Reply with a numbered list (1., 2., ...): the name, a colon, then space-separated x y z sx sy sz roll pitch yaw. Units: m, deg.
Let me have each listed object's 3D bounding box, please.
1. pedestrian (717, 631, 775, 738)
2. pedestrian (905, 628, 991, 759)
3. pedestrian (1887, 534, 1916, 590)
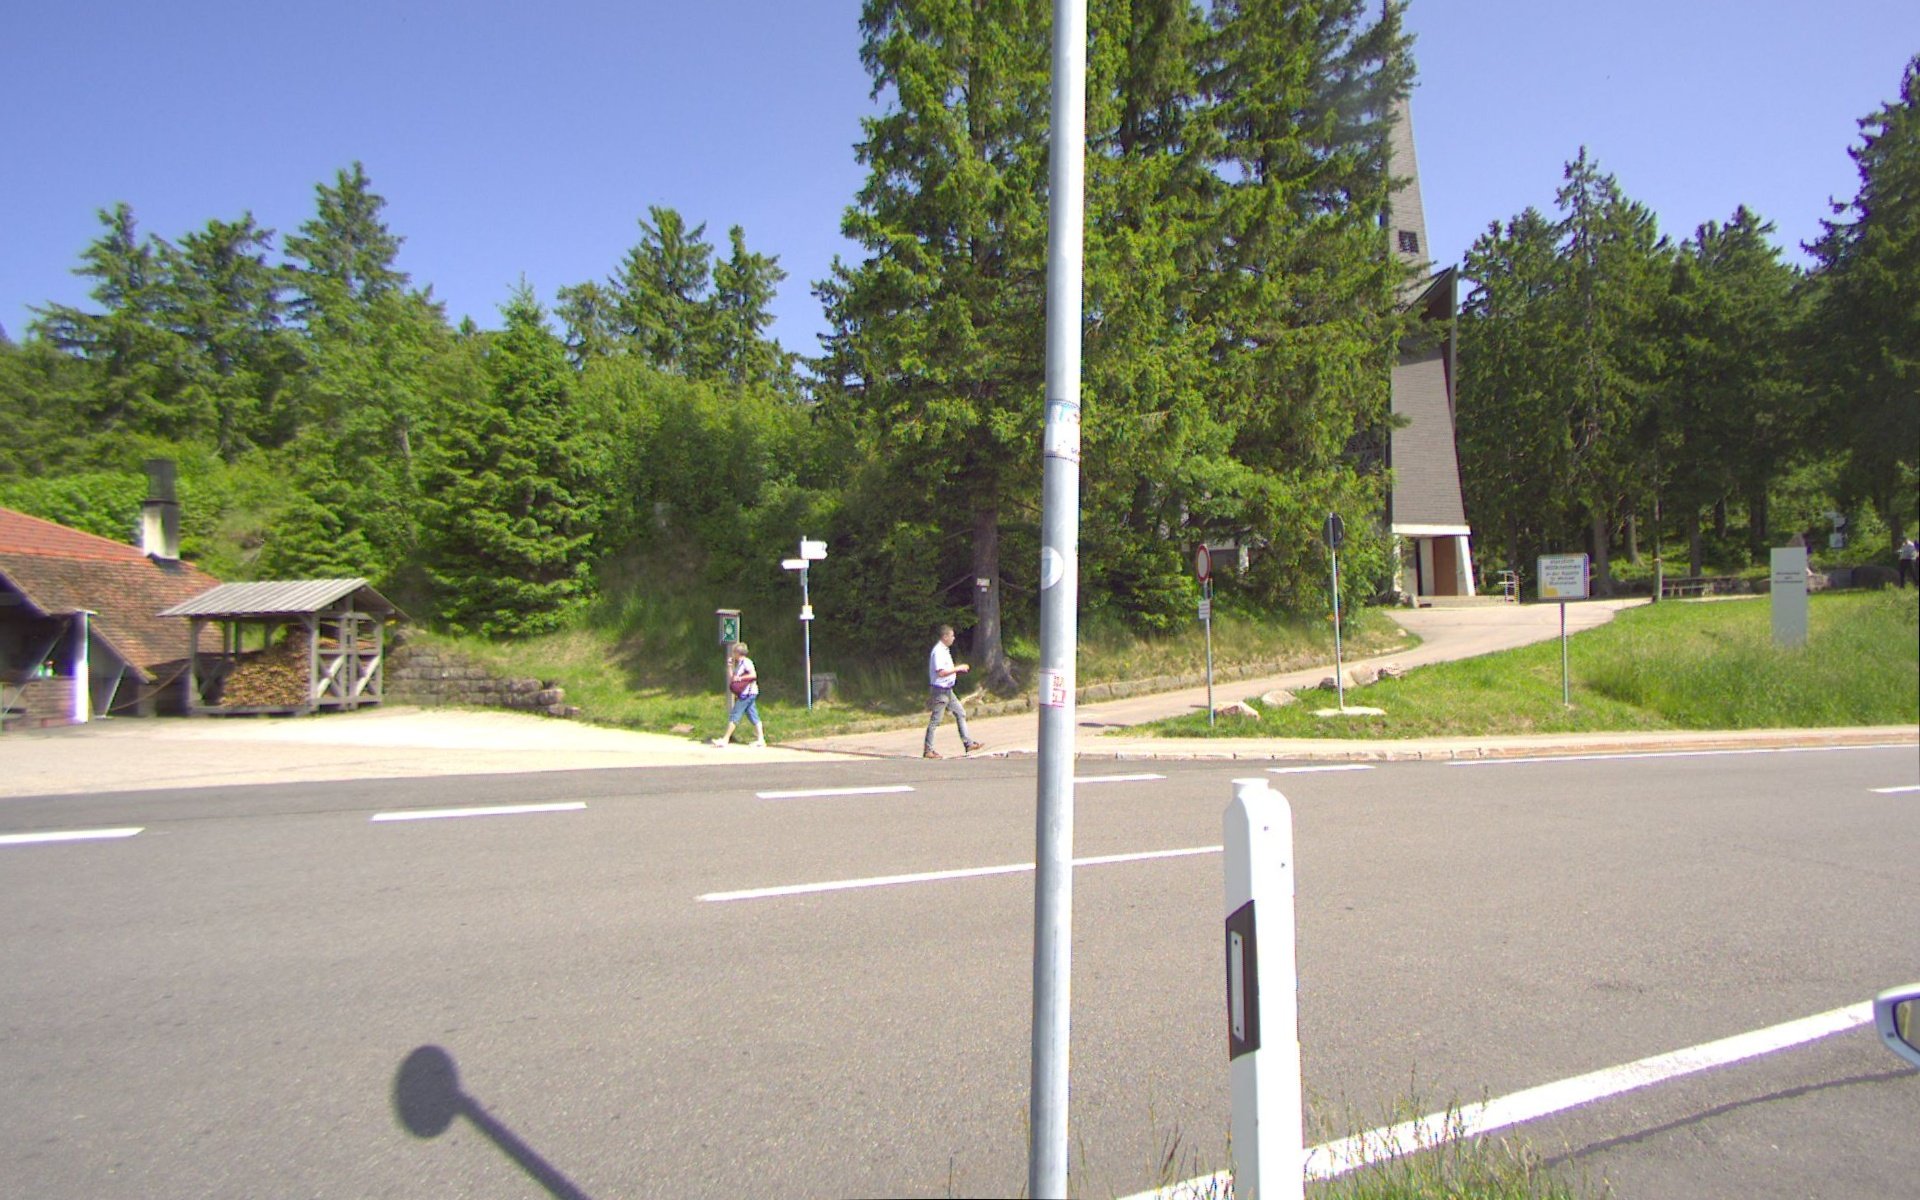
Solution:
1. pedestrian: -3.488 1.360 16.397 0.669 1.703 0.722 0 -3 11
2. pedestrian: -0.166 1.258 13.744 1.139 1.720 0.979 0 -3 -1
3. pedestrian: 32.922 -1.317 35.128 0.538 1.902 0.674 3 -4 -43
